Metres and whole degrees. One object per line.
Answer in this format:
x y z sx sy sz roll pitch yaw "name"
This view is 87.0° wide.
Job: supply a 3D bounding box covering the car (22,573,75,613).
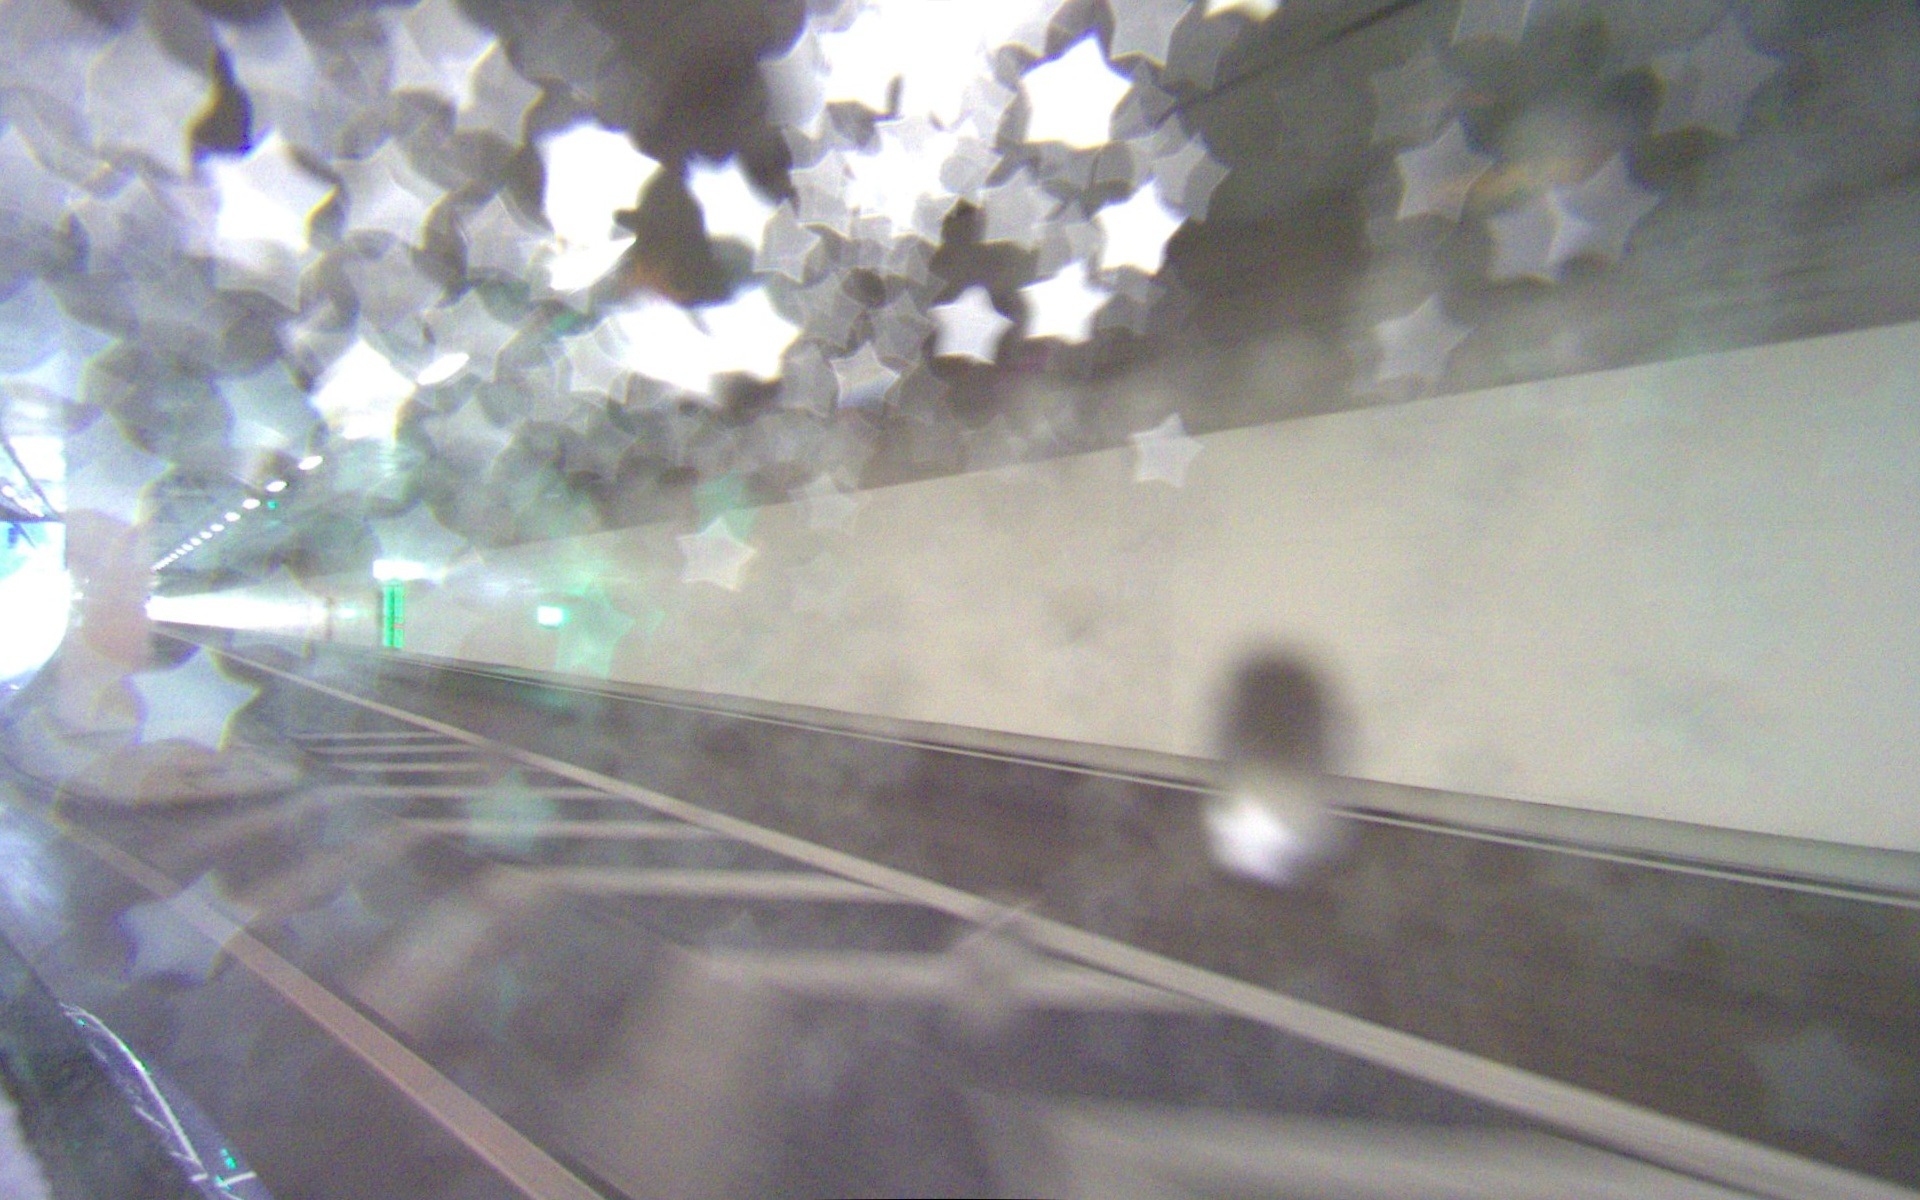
-49.229 -0.340 54.737 2.000 2.044 4.431 -1 0 -40 "car"
